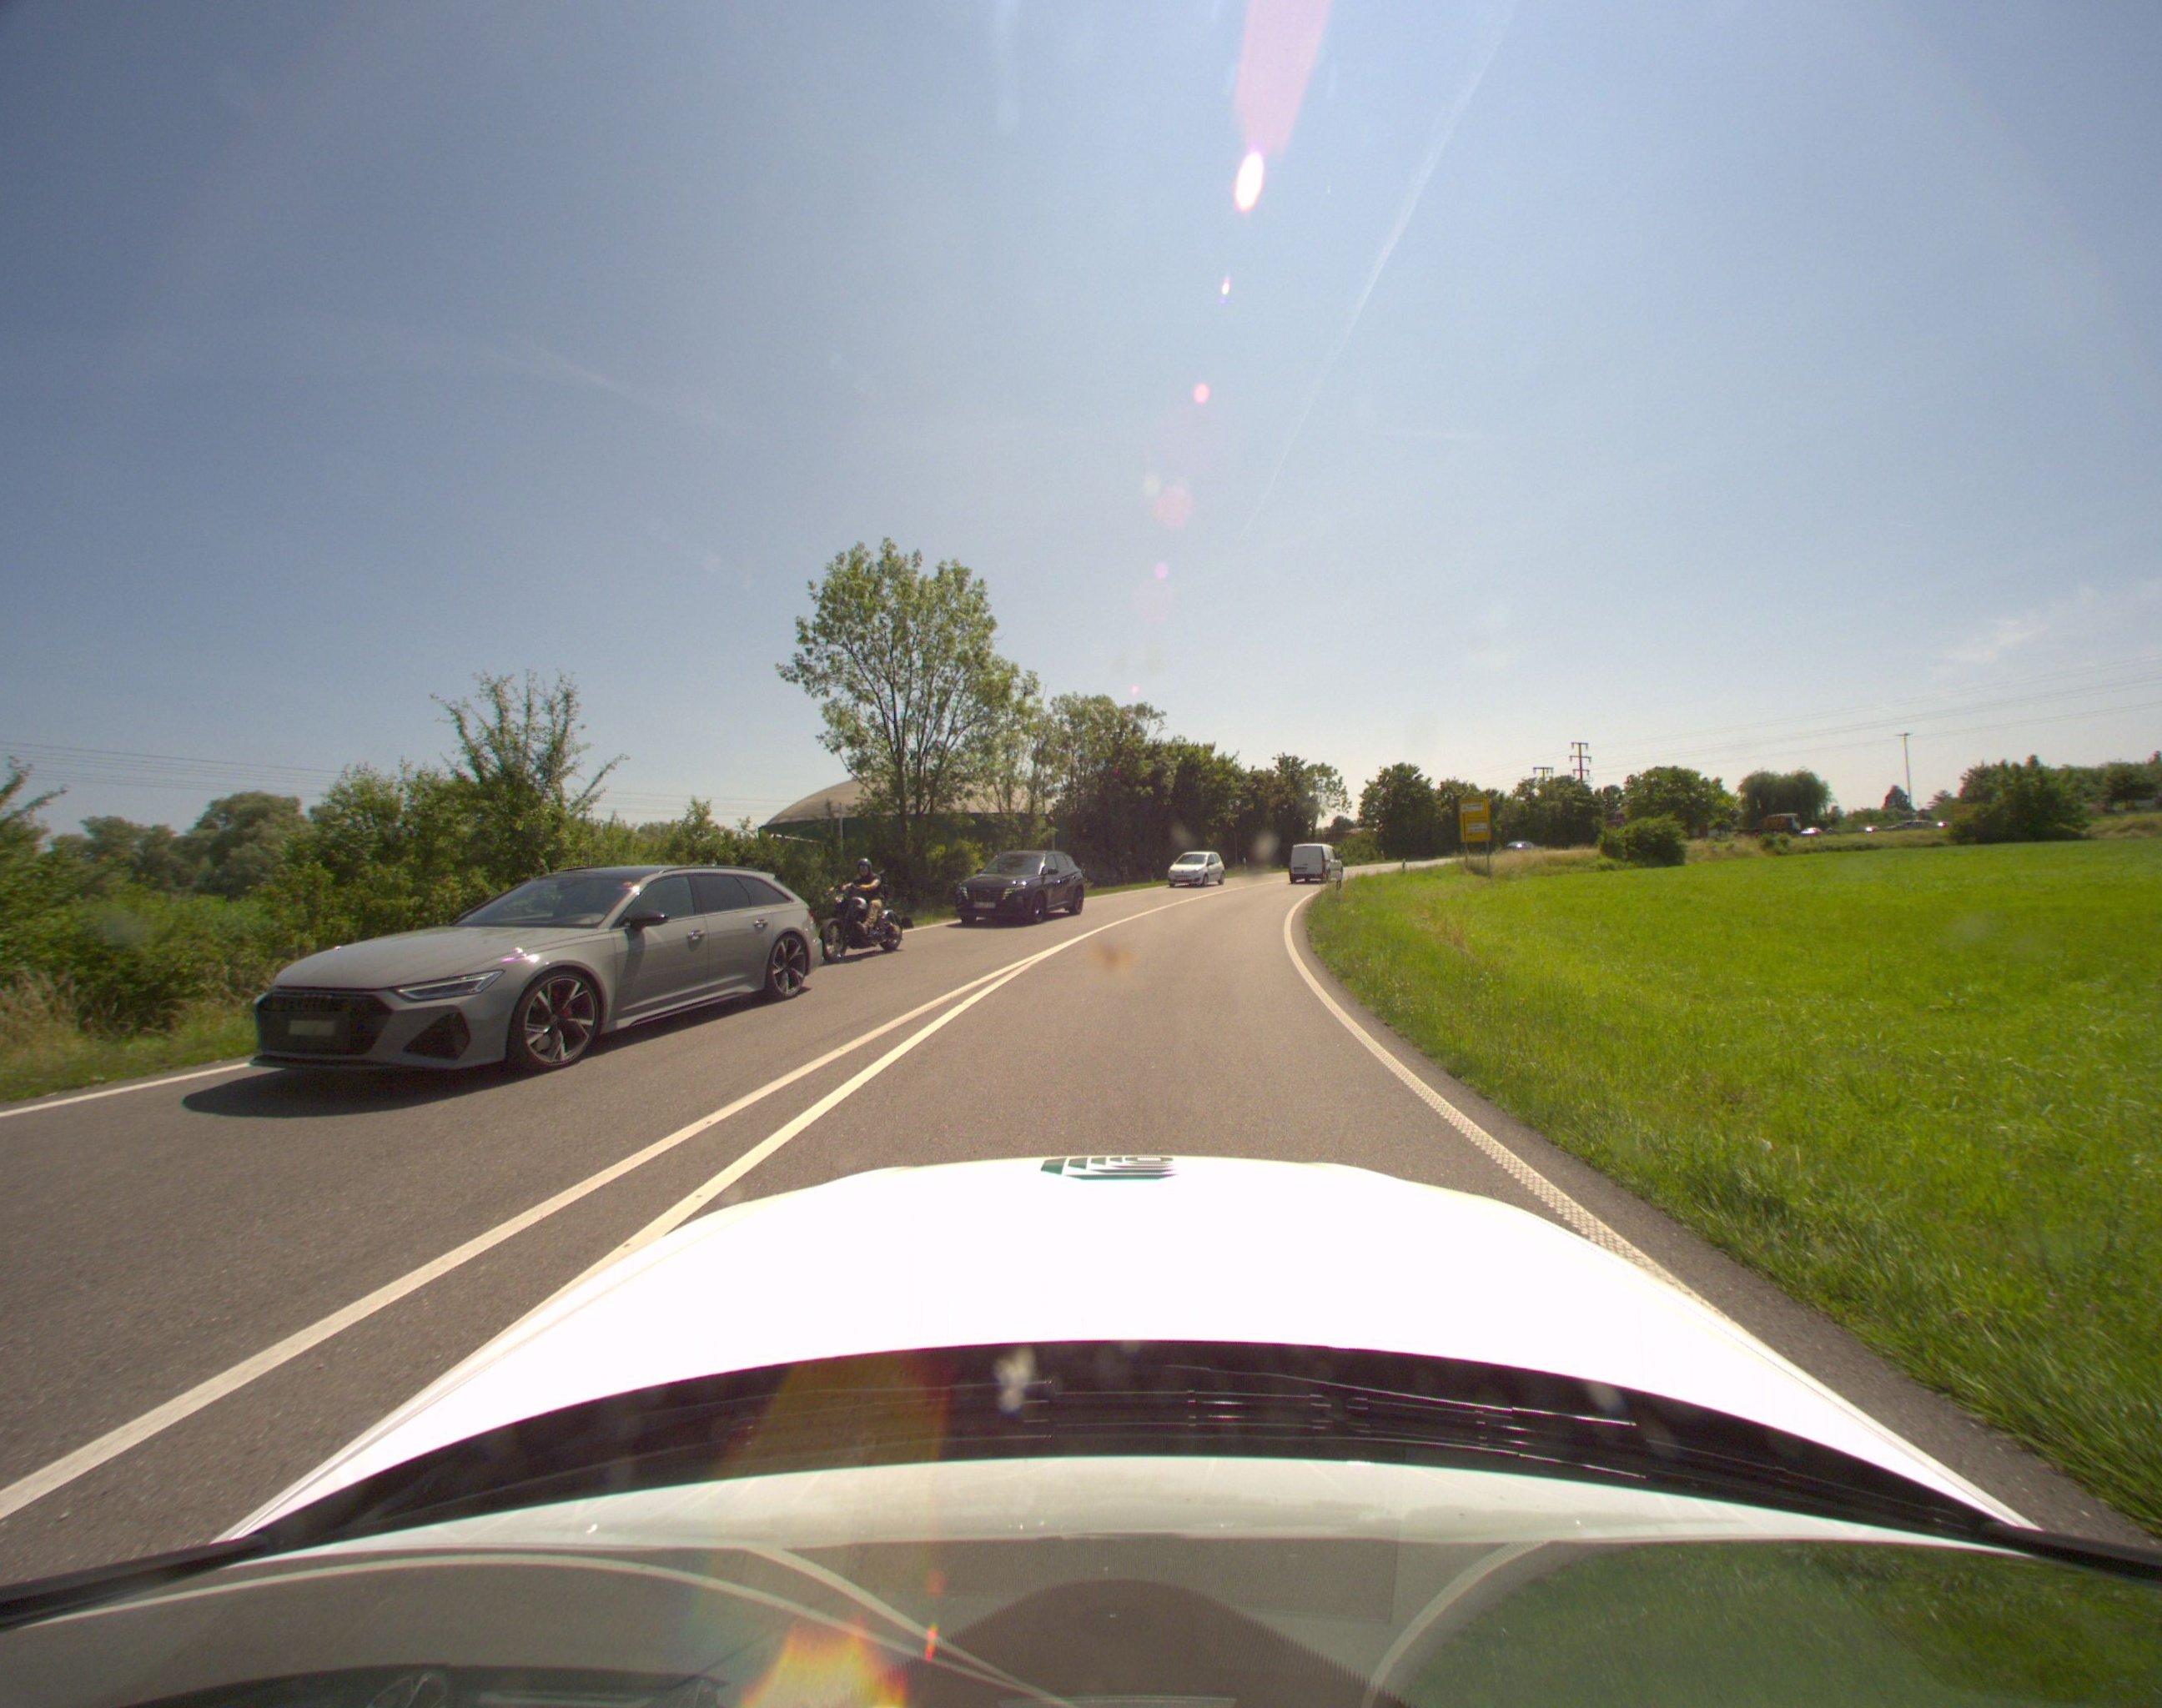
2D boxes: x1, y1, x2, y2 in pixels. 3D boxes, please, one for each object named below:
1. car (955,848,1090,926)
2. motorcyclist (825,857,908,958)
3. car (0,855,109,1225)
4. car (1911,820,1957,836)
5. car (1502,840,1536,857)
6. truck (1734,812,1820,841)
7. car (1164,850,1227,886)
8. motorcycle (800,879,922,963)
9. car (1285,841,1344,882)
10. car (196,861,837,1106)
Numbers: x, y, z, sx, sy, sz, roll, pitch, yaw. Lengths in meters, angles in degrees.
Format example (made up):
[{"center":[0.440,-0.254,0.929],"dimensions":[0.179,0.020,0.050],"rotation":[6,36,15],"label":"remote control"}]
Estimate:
[{"center":[-1.246,0.688,19.342],"dimensions":[1.688,1.638,4.269],"rotation":[-1,0,18],"label":"car"},{"center":[-3.330,0.804,12.704],"dimensions":[0.775,1.495,1.134],"rotation":[-2,-1,13],"label":"motorcyclist"},{"center":[-5.729,0.770,1.695],"dimensions":[1.786,1.515,4.407],"rotation":[-1,0,13],"label":"car"},{"center":[114.966,-3.516,109.847],"dimensions":[2.007,2.014,3.958],"rotation":[0,-1,-33],"label":"car"},{"center":[38.367,-0.488,71.321],"dimensions":[1.703,1.420,3.768],"rotation":[-4,-2,43],"label":"car"},{"center":[81.027,-3.142,94.795],"dimensions":[8.787,3.137,3.093],"rotation":[0,-1,-14],"label":"truck"},{"center":[5.025,0.583,35.339],"dimensions":[1.522,1.443,3.629],"rotation":[0,0,29],"label":"car"},{"center":[-3.337,0.982,12.660],"dimensions":[0.776,1.123,2.438],"rotation":[-1,-1,13],"label":"motorcycle"},{"center":[10.939,0.342,37.940],"dimensions":[1.886,1.732,3.845],"rotation":[-3,-1,26],"label":"car"},{"center":[-4.332,0.827,7.468],"dimensions":[1.828,1.460,4.826],"rotation":[-2,-1,13],"label":"car"}]
